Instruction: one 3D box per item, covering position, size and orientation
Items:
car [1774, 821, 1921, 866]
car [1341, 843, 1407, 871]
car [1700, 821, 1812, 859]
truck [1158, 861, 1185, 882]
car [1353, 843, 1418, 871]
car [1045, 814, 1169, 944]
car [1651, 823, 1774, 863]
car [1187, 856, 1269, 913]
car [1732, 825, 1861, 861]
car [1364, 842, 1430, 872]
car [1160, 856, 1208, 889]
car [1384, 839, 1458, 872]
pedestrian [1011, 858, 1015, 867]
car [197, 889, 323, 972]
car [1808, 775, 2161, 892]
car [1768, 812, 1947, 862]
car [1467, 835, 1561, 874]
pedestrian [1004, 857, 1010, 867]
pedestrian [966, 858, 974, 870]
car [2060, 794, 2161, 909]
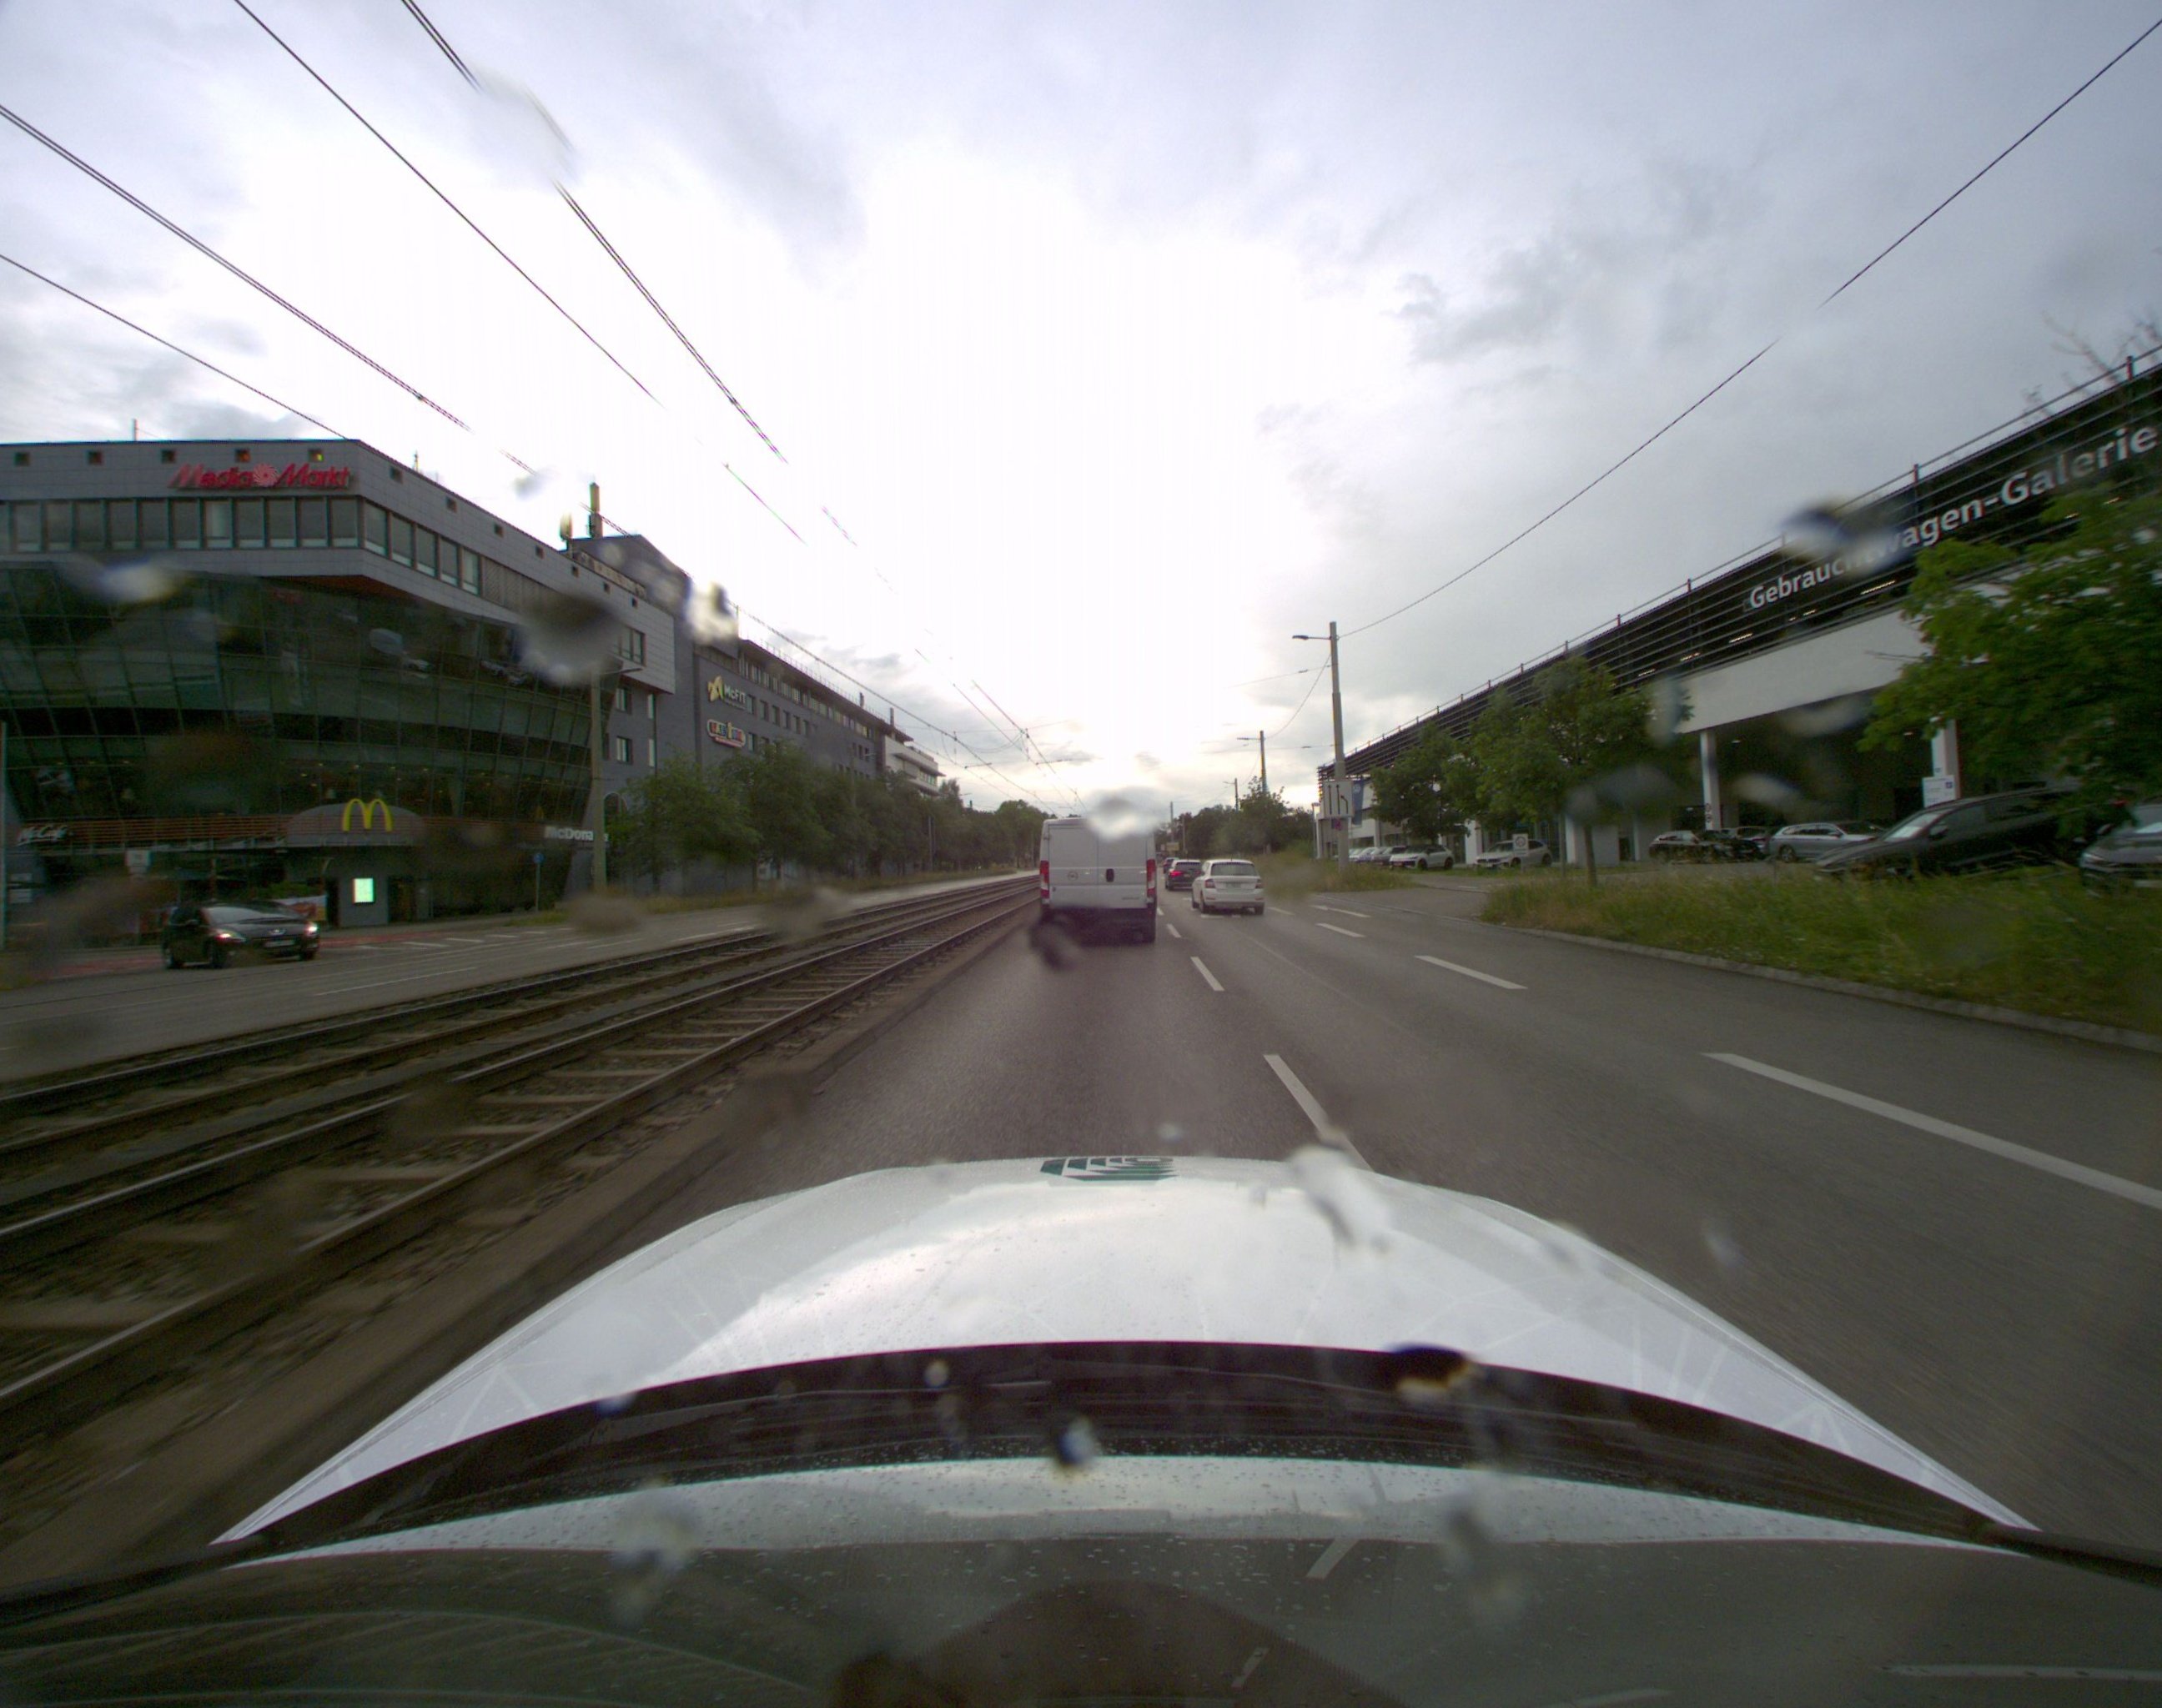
[{"bbox_3d":[30.382,-0.408,32.396,3.968,1.728,1.893,0,-1,4],"label":"car"},{"bbox_3d":[20.521,0.203,57.045,4.365,1.626,1.840,-3,-2,-28],"label":"car"},{"bbox_3d":[31.517,-0.625,38.109,3.801,1.587,1.639,-2,-1,1],"label":"car"},{"bbox_3d":[8.523,1.611,77.001,1.987,1.790,4.414,-2,0,1],"label":"truck"},{"bbox_3d":[19.988,0.202,53.411,4.205,1.569,1.781,-3,-2,-32],"label":"car"},{"bbox_3d":[0.549,0.430,16.308,2.082,2.196,5.064,0,0,2],"label":"car"},{"bbox_3d":[27.315,-0.414,35.467,1.773,1.468,4.696,-4,-1,2],"label":"car"},{"bbox_3d":[4.041,0.801,22.894,1.740,1.457,3.672,0,0,1],"label":"car"},{"bbox_3d":[31.004,-0.473,35.395,3.968,1.508,1.788,0,-1,4],"label":"car"},{"bbox_3d":[19.384,0.181,49.855,4.211,1.569,1.778,-3,-2,-38],"label":"car"},{"bbox_3d":[4.724,0.831,37.855,1.783,1.449,4.001,-1,-1,1],"label":"car"},{"bbox_3d":[19.147,0.088,45.820,4.117,1.569,1.780,-3,-2,-34],"label":"car"},{"bbox_3d":[-13.209,1.629,157.582,0.503,1.787,0.834,0,-1,9],"label":"pedestrian"},{"bbox_3d":[-20.426,1.840,20.356,2.012,1.736,4.159,-2,-1,-44],"label":"car"},{"bbox_3d":[17.797,-0.351,16.121,4.662,1.876,1.836,-4,-1,26],"label":"car"},{"bbox_3d":[27.214,-0.525,28.819,1.887,1.468,4.698,-4,-1,2],"label":"car"},{"bbox_3d":[19.359,0.008,36.385,4.113,1.465,1.731,-3,-2,-31],"label":"car"},{"bbox_3d":[-14.443,1.584,159.569,0.882,2.014,0.867,-2,-1,7],"label":"pedestrian"},{"bbox_3d":[-19.211,1.736,141.044,0.879,2.014,0.950,-2,-1,19],"label":"pedestrian"},{"bbox_3d":[17.294,-0.147,12.551,4.345,1.612,1.853,-4,-1,-27],"label":"car"}]
